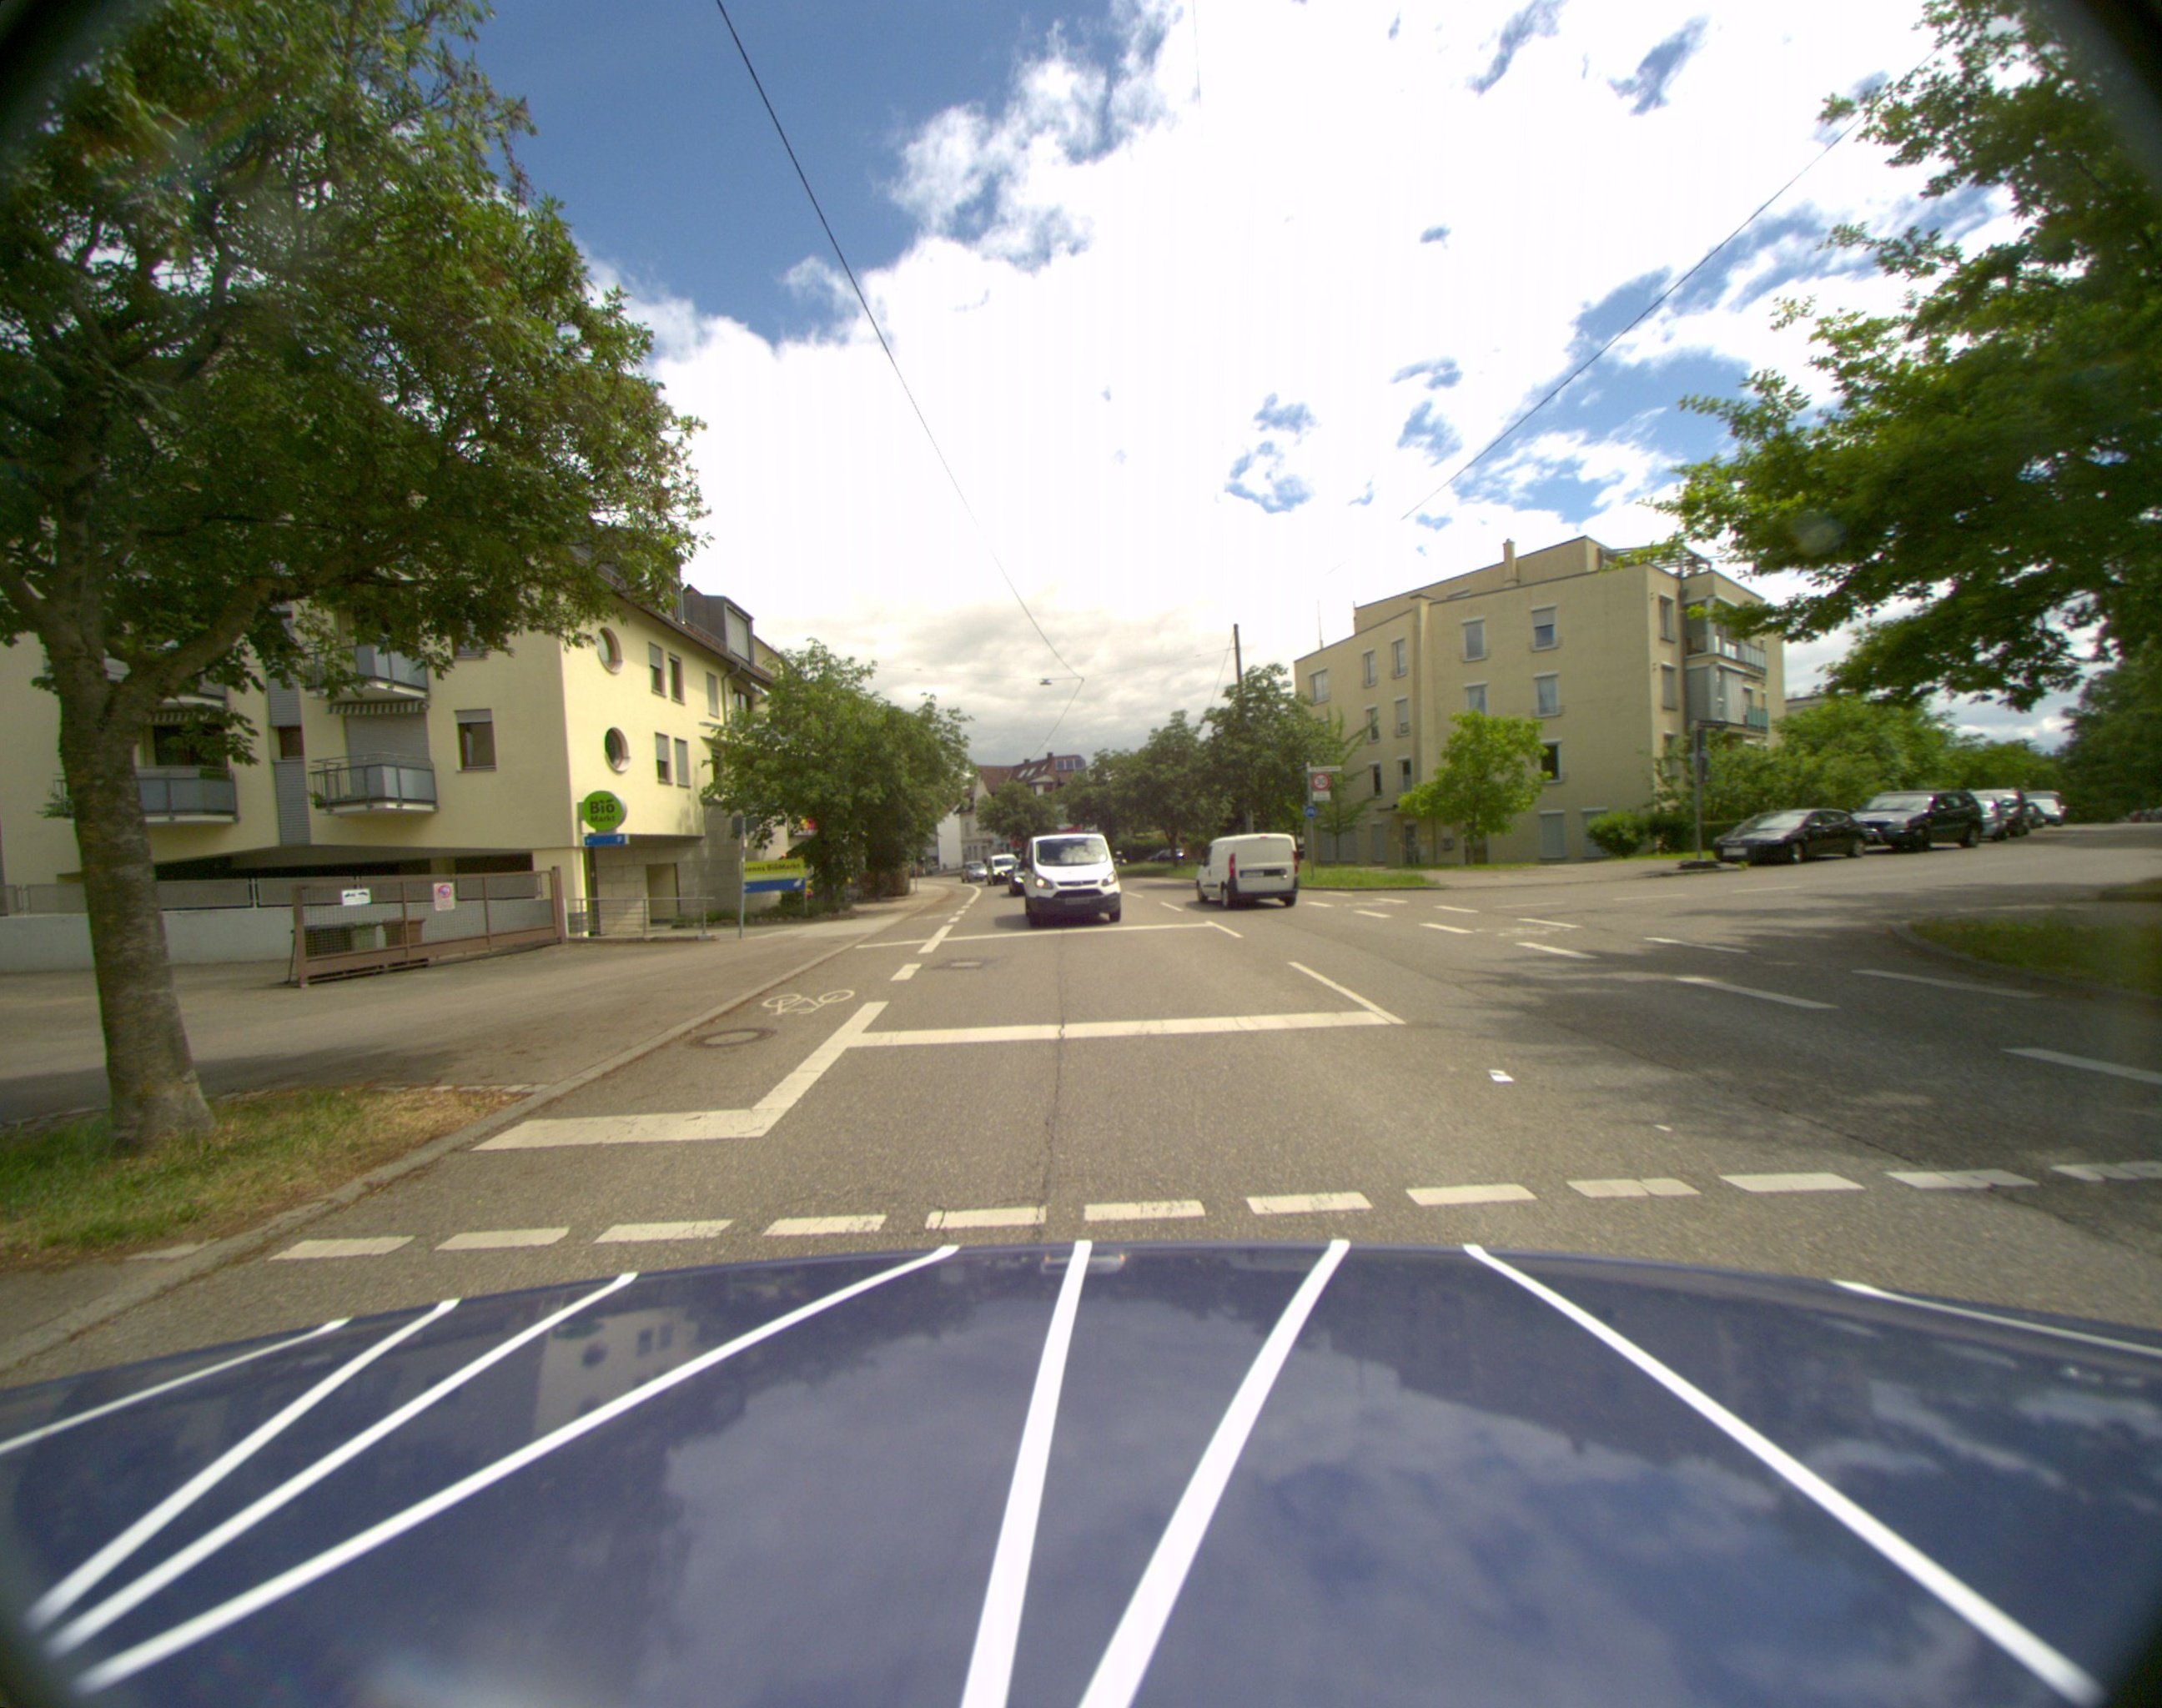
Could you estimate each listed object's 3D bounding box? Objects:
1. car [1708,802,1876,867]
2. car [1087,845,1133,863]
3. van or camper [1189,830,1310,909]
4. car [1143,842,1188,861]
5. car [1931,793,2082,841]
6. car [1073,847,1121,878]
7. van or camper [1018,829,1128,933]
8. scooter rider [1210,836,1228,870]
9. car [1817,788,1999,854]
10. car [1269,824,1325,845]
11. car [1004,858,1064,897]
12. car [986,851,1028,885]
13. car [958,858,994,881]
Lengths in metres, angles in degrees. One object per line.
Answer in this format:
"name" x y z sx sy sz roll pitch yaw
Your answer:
"car" 19.981 -0.544 21.354 4.155 1.390 1.734 -6 2 -20
"car" 2.830 0.035 73.906 4.048 1.314 1.533 -6 2 -21
"van or camper" 4.317 0.369 20.216 1.866 1.766 4.378 -3 0 -4
"car" 8.306 -0.253 74.575 3.979 1.672 1.716 -4 1 -12
"car" 31.326 -1.233 25.736 4.003 1.324 1.971 -4 1 -19
"car" 0.840 0.465 43.164 1.905 1.571 3.995 -3 1 -11
"van or camper" -0.357 0.552 18.061 2.028 2.002 5.100 -4 0 -6
"scooter rider" 8.493 -0.057 46.715 0.678 2.002 0.793 -6 2 -8
"car" 25.122 -1.019 23.099 4.795 1.594 2.098 -5 3 -20
"car" 15.612 -1.401 54.906 4.007 1.411 1.789 -1 -1 -37
"car" -2.010 0.924 31.278 1.842 1.382 3.996 -3 0 -12
"car" -4.546 0.792 46.204 1.853 1.805 3.995 -6 2 -13
"car" -7.906 1.156 57.085 1.695 1.478 3.993 -6 2 -21
